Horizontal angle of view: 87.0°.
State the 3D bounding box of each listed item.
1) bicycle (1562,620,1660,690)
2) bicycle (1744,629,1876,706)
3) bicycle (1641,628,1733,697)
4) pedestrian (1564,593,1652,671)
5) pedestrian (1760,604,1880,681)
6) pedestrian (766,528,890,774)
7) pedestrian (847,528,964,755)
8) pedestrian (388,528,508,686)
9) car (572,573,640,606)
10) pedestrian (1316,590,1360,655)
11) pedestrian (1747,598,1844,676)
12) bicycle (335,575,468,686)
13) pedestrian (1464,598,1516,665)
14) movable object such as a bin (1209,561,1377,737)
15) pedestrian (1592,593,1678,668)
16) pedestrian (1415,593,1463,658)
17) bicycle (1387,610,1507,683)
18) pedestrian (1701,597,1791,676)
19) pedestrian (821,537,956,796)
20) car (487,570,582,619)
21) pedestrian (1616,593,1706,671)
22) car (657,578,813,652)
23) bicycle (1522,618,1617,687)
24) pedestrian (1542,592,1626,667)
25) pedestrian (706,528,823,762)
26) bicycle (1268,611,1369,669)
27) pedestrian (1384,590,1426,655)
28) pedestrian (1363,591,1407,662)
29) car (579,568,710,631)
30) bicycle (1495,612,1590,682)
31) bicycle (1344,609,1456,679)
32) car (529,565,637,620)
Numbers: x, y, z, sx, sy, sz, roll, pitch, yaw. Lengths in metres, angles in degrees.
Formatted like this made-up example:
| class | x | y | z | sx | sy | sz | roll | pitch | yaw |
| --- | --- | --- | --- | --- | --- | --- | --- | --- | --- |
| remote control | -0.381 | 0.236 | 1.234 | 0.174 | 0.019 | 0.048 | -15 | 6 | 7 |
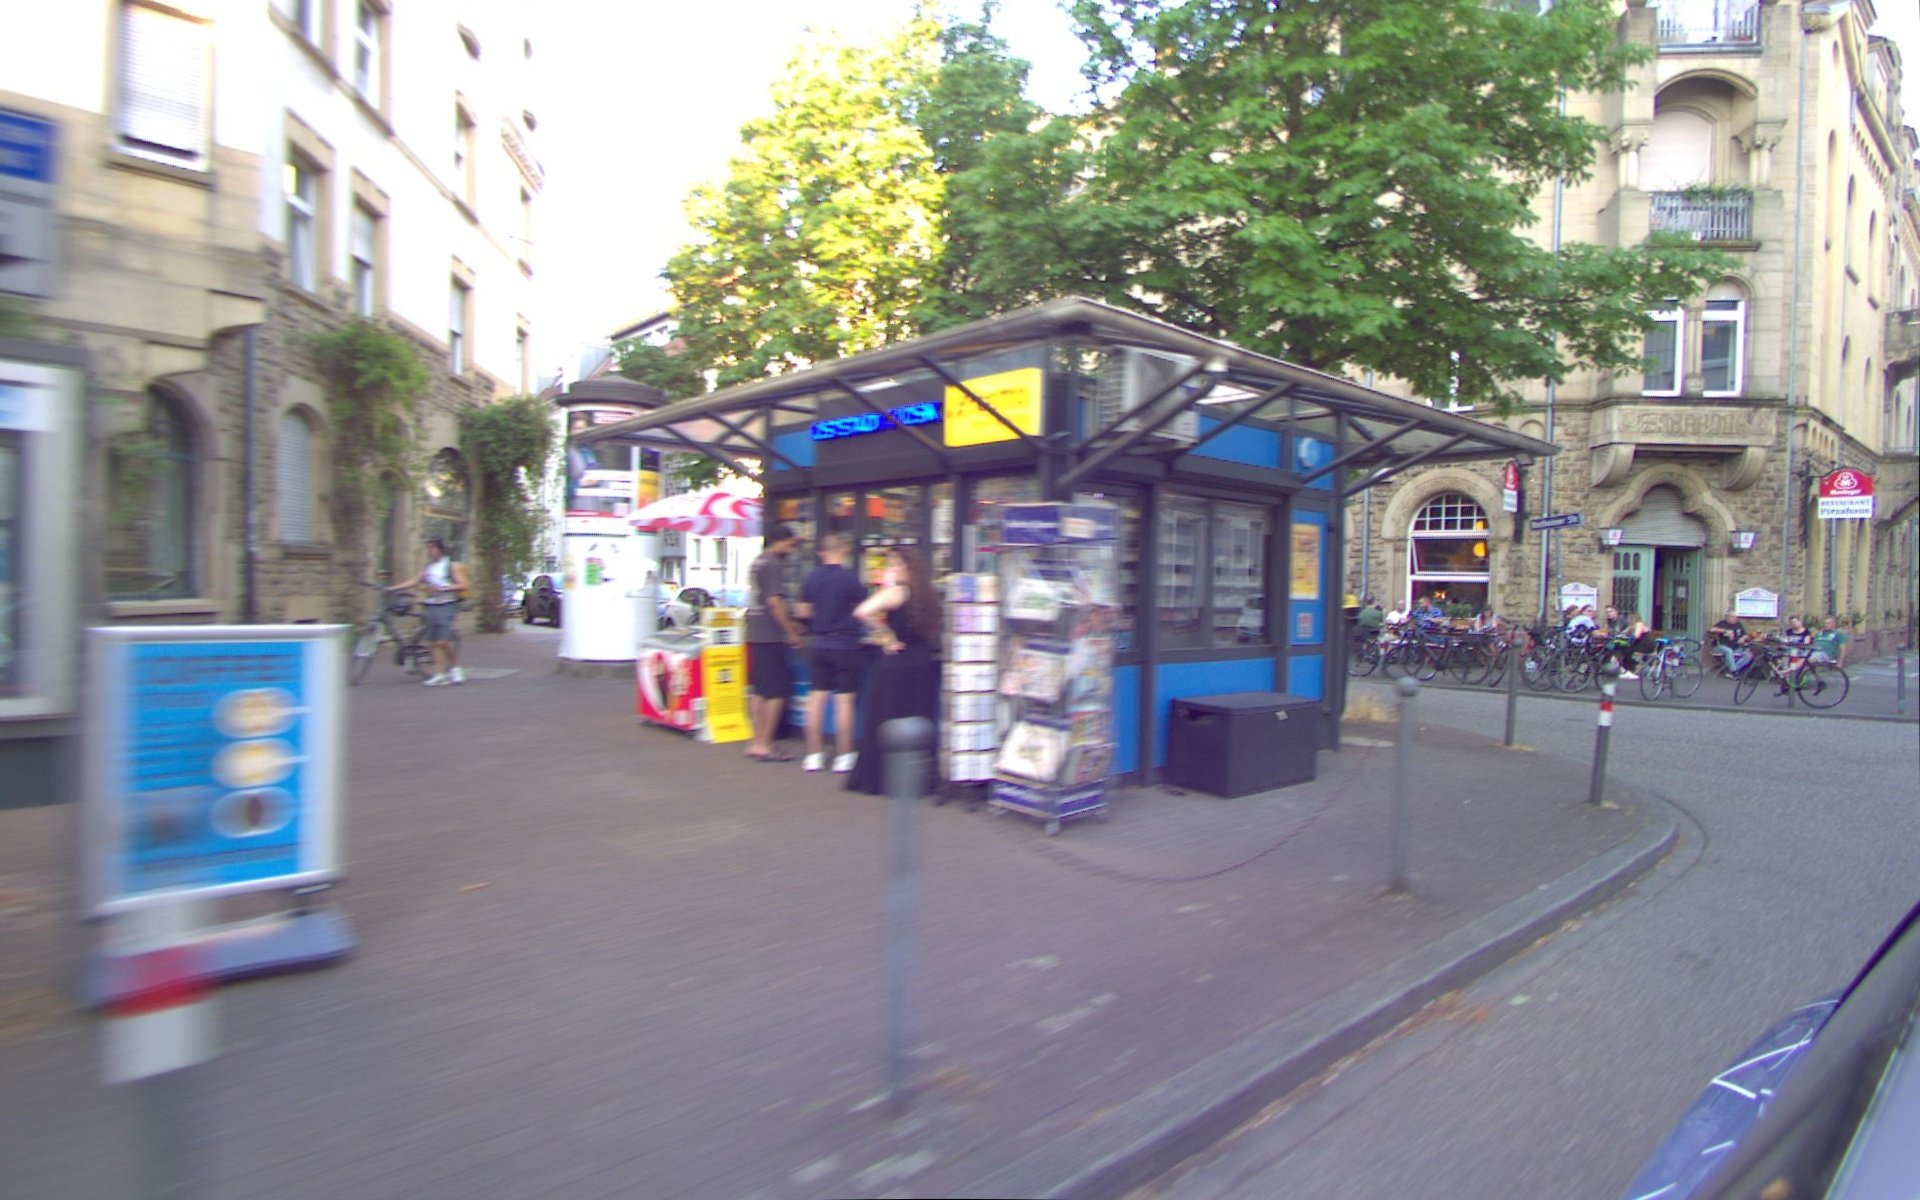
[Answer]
| class | x | y | z | sx | sy | sz | roll | pitch | yaw |
| --- | --- | --- | --- | --- | --- | --- | --- | --- | --- |
| bicycle | 10.565 | 0.868 | 16.419 | 1.797 | 1.080 | 0.514 | 1 | 1 | -28 |
| bicycle | 12.503 | 0.983 | 14.904 | 1.451 | 1.052 | 0.431 | 1 | 1 | 8 |
| bicycle | 11.174 | 0.944 | 15.541 | 1.671 | 0.992 | 0.448 | 1 | 1 | -28 |
| pedestrian | 12.187 | 0.592 | 19.070 | 1.083 | 1.414 | 0.842 | 0 | 2 | 0 |
| pedestrian | 15.866 | 0.769 | 18.702 | 1.395 | 1.301 | 0.840 | 2 | 2 | 6 |
| pedestrian | -0.926 | 0.331 | 7.187 | 0.669 | 1.657 | 0.587 | 1 | 1 | 19 |
| pedestrian | -0.425 | 0.295 | 7.847 | 0.675 | 1.657 | 0.582 | 2 | 1 | 41 |
| pedestrian | -6.170 | 0.067 | 12.255 | 0.961 | 1.811 | 1.006 | 1 | 2 | -2 |
| car | -16.766 | -0.496 | 47.781 | 1.794 | 1.502 | 3.902 | 0 | 0 | -40 |
| pedestrian | 8.494 | 0.495 | 22.736 | 0.757 | 1.414 | 0.618 | -1 | 2 | -37 |
| pedestrian | 16.105 | 0.701 | 19.527 | 1.081 | 1.413 | 0.843 | 3 | 2 | -8 |
| bicycle | -6.707 | 0.322 | 12.261 | 0.623 | 1.202 | 1.916 | 1 | 2 | -2 |
| pedestrian | 10.731 | 0.617 | 20.488 | 0.704 | 1.298 | 0.864 | 2 | 1 | 44 |
| movable object such as a bin | 3.113 | 0.413 | 9.551 | 0.750 | 1.493 | 1.228 | 1 | 3 | -32 |
| pedestrian | 13.174 | 0.588 | 19.777 | 1.083 | 1.414 | 0.842 | 0 | 2 | 0 |
| pedestrian | 10.151 | 0.521 | 21.446 | 0.656 | 1.337 | 0.730 | 1 | 1 | -44 |
| bicycle | 8.514 | 0.786 | 17.729 | 1.823 | 1.166 | 0.551 | 2 | 1 | 36 |
| pedestrian | 15.058 | 0.676 | 19.418 | 0.881 | 1.414 | 1.010 | 3 | 1 | 6 |
| pedestrian | -0.447 | 0.388 | 6.467 | 0.669 | 1.558 | 0.587 | 1 | 1 | 19 |
| car | -13.920 | -0.167 | 33.013 | 1.793 | 1.502 | 4.070 | 0 | 0 | -39 |
| pedestrian | 13.185 | 0.596 | 19.070 | 1.083 | 1.414 | 0.842 | 0 | 2 | 0 |
| car | -5.147 | 0.303 | 22.865 | 1.794 | 1.502 | 3.900 | 0 | 0 | -41 |
| bicycle | 10.068 | 0.842 | 16.706 | 1.797 | 1.083 | 0.477 | 1 | 1 | -28 |
| pedestrian | 12.173 | 0.568 | 19.778 | 1.083 | 1.414 | 0.842 | 0 | 2 | 0 |
| pedestrian | -1.476 | 0.310 | 7.612 | 0.581 | 1.657 | 0.677 | 0 | 1 | -42 |
| bicycle | 7.076 | 0.791 | 20.011 | 1.796 | 1.091 | 0.592 | 1 | 1 | -10 |
| pedestrian | 9.685 | 0.478 | 22.002 | 0.725 | 1.375 | 0.591 | 1 | 1 | -44 |
| pedestrian | 8.867 | 0.539 | 21.116 | 0.710 | 1.422 | 0.785 | 1 | 1 | 33 |
| car | -8.231 | -0.029 | 26.220 | 1.794 | 1.502 | 3.997 | 0 | 0 | -41 |
| bicycle | 9.930 | 0.786 | 17.234 | 1.797 | 1.126 | 0.504 | 1 | 1 | -28 |
| bicycle | 8.121 | 0.786 | 18.735 | 1.823 | 1.176 | 0.532 | 2 | 1 | 36 |
| car | -11.037 | -0.210 | 29.498 | 1.794 | 1.502 | 3.902 | 0 | 0 | -40 |
